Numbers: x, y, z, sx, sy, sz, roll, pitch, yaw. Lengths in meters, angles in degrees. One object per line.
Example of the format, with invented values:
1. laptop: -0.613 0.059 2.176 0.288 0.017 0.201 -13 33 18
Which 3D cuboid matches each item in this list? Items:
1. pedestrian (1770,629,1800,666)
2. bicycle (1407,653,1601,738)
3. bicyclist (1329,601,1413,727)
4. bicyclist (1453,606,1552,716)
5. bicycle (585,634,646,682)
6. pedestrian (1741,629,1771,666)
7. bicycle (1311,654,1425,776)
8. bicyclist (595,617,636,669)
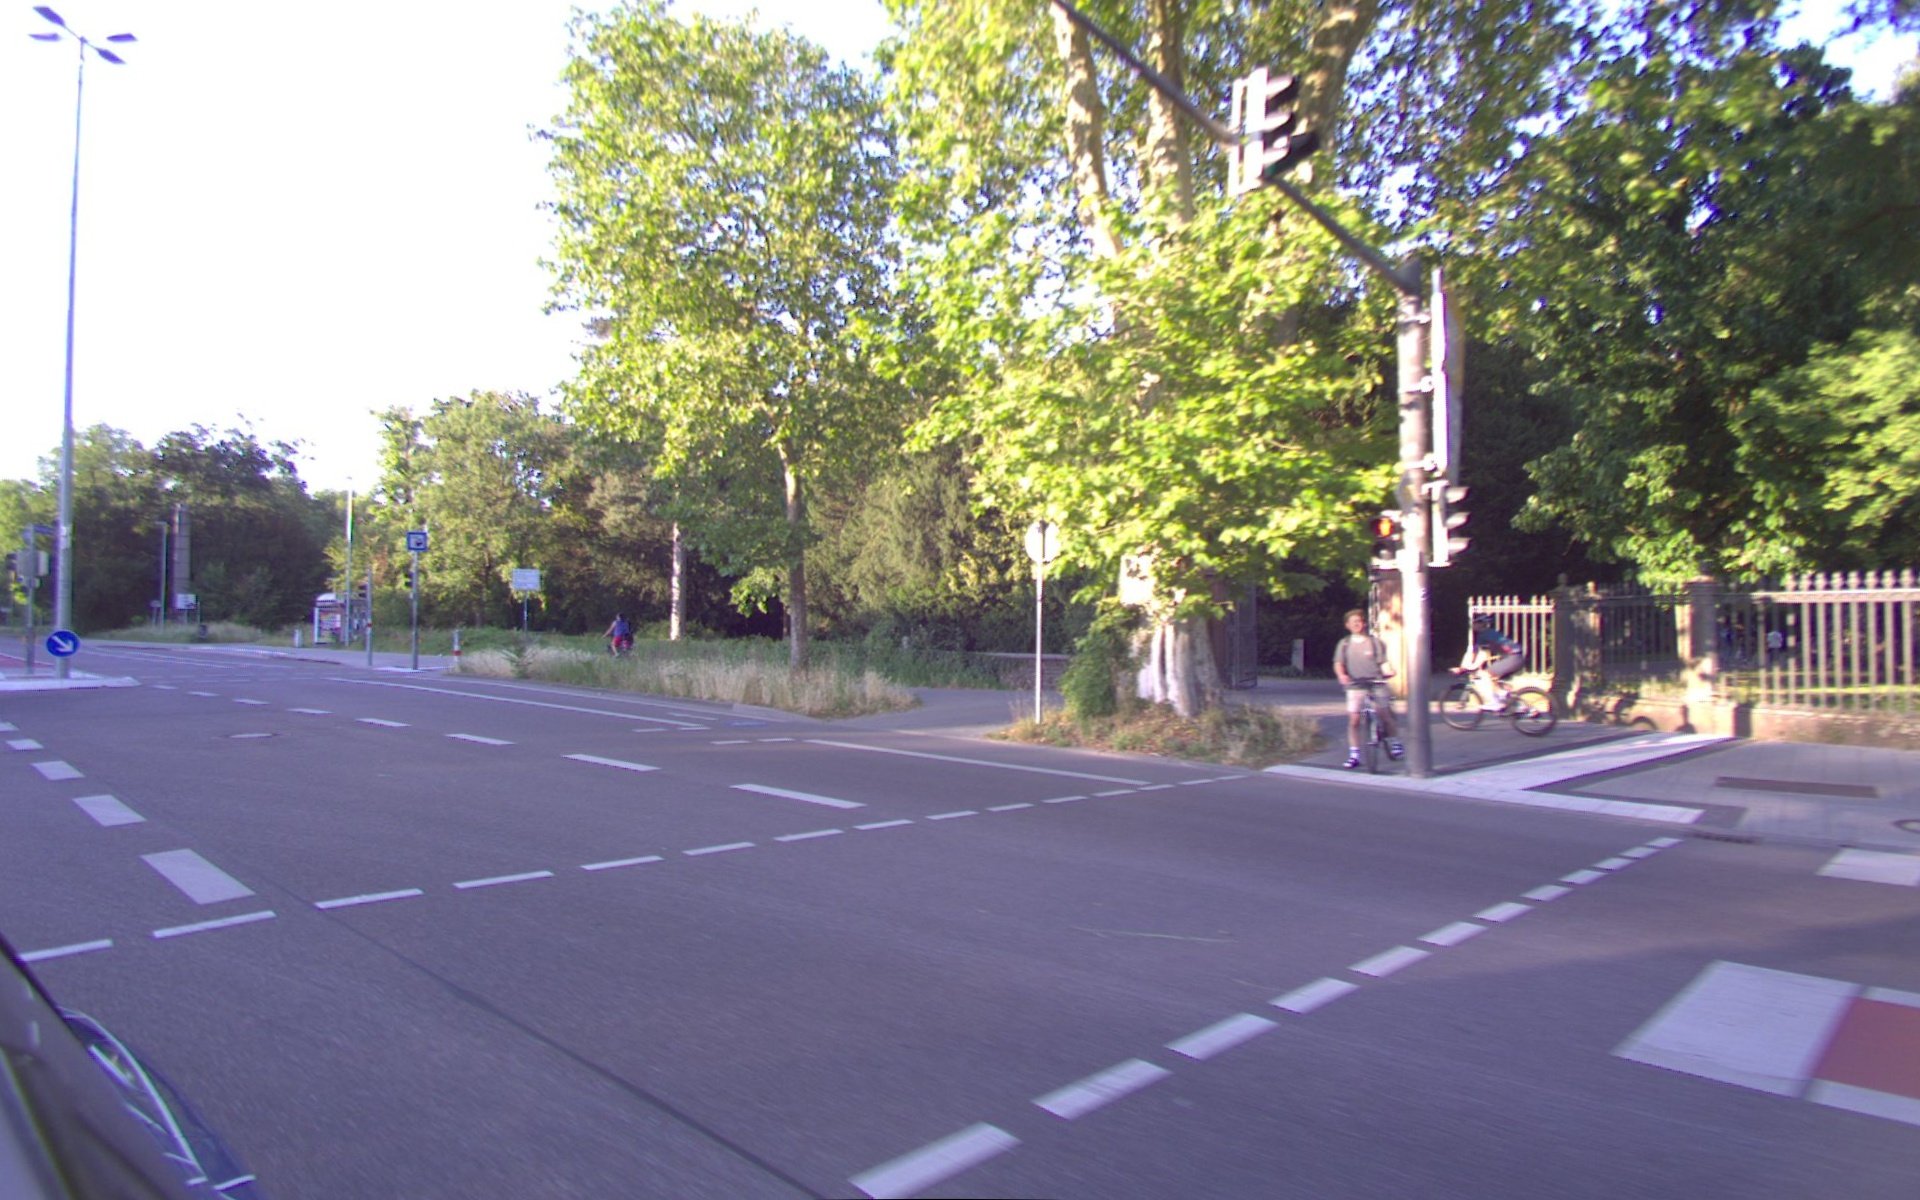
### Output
1. pedestrian: 37.583 2.144 46.107 0.861 1.672 0.907 1 -2 -40
2. bicycle: 7.466 1.273 13.998 0.844 1.023 2.201 1 -2 -40
3. bicyclist: 4.672 0.705 11.493 0.826 1.372 0.573 1 -2 -43
4. bicyclist: 7.503 0.820 13.997 0.844 1.442 0.945 1 -2 -40
5. bicycle: -9.712 1.606 28.497 1.980 1.266 0.780 -1 -2 44
6. pedestrian: 36.825 2.169 46.817 0.861 1.672 0.907 1 -2 -40
7. bicycle: 4.651 1.257 11.485 1.608 1.239 0.573 1 -2 -43
8. bicyclist: -9.697 1.194 28.490 0.892 1.438 0.780 -1 -2 43
